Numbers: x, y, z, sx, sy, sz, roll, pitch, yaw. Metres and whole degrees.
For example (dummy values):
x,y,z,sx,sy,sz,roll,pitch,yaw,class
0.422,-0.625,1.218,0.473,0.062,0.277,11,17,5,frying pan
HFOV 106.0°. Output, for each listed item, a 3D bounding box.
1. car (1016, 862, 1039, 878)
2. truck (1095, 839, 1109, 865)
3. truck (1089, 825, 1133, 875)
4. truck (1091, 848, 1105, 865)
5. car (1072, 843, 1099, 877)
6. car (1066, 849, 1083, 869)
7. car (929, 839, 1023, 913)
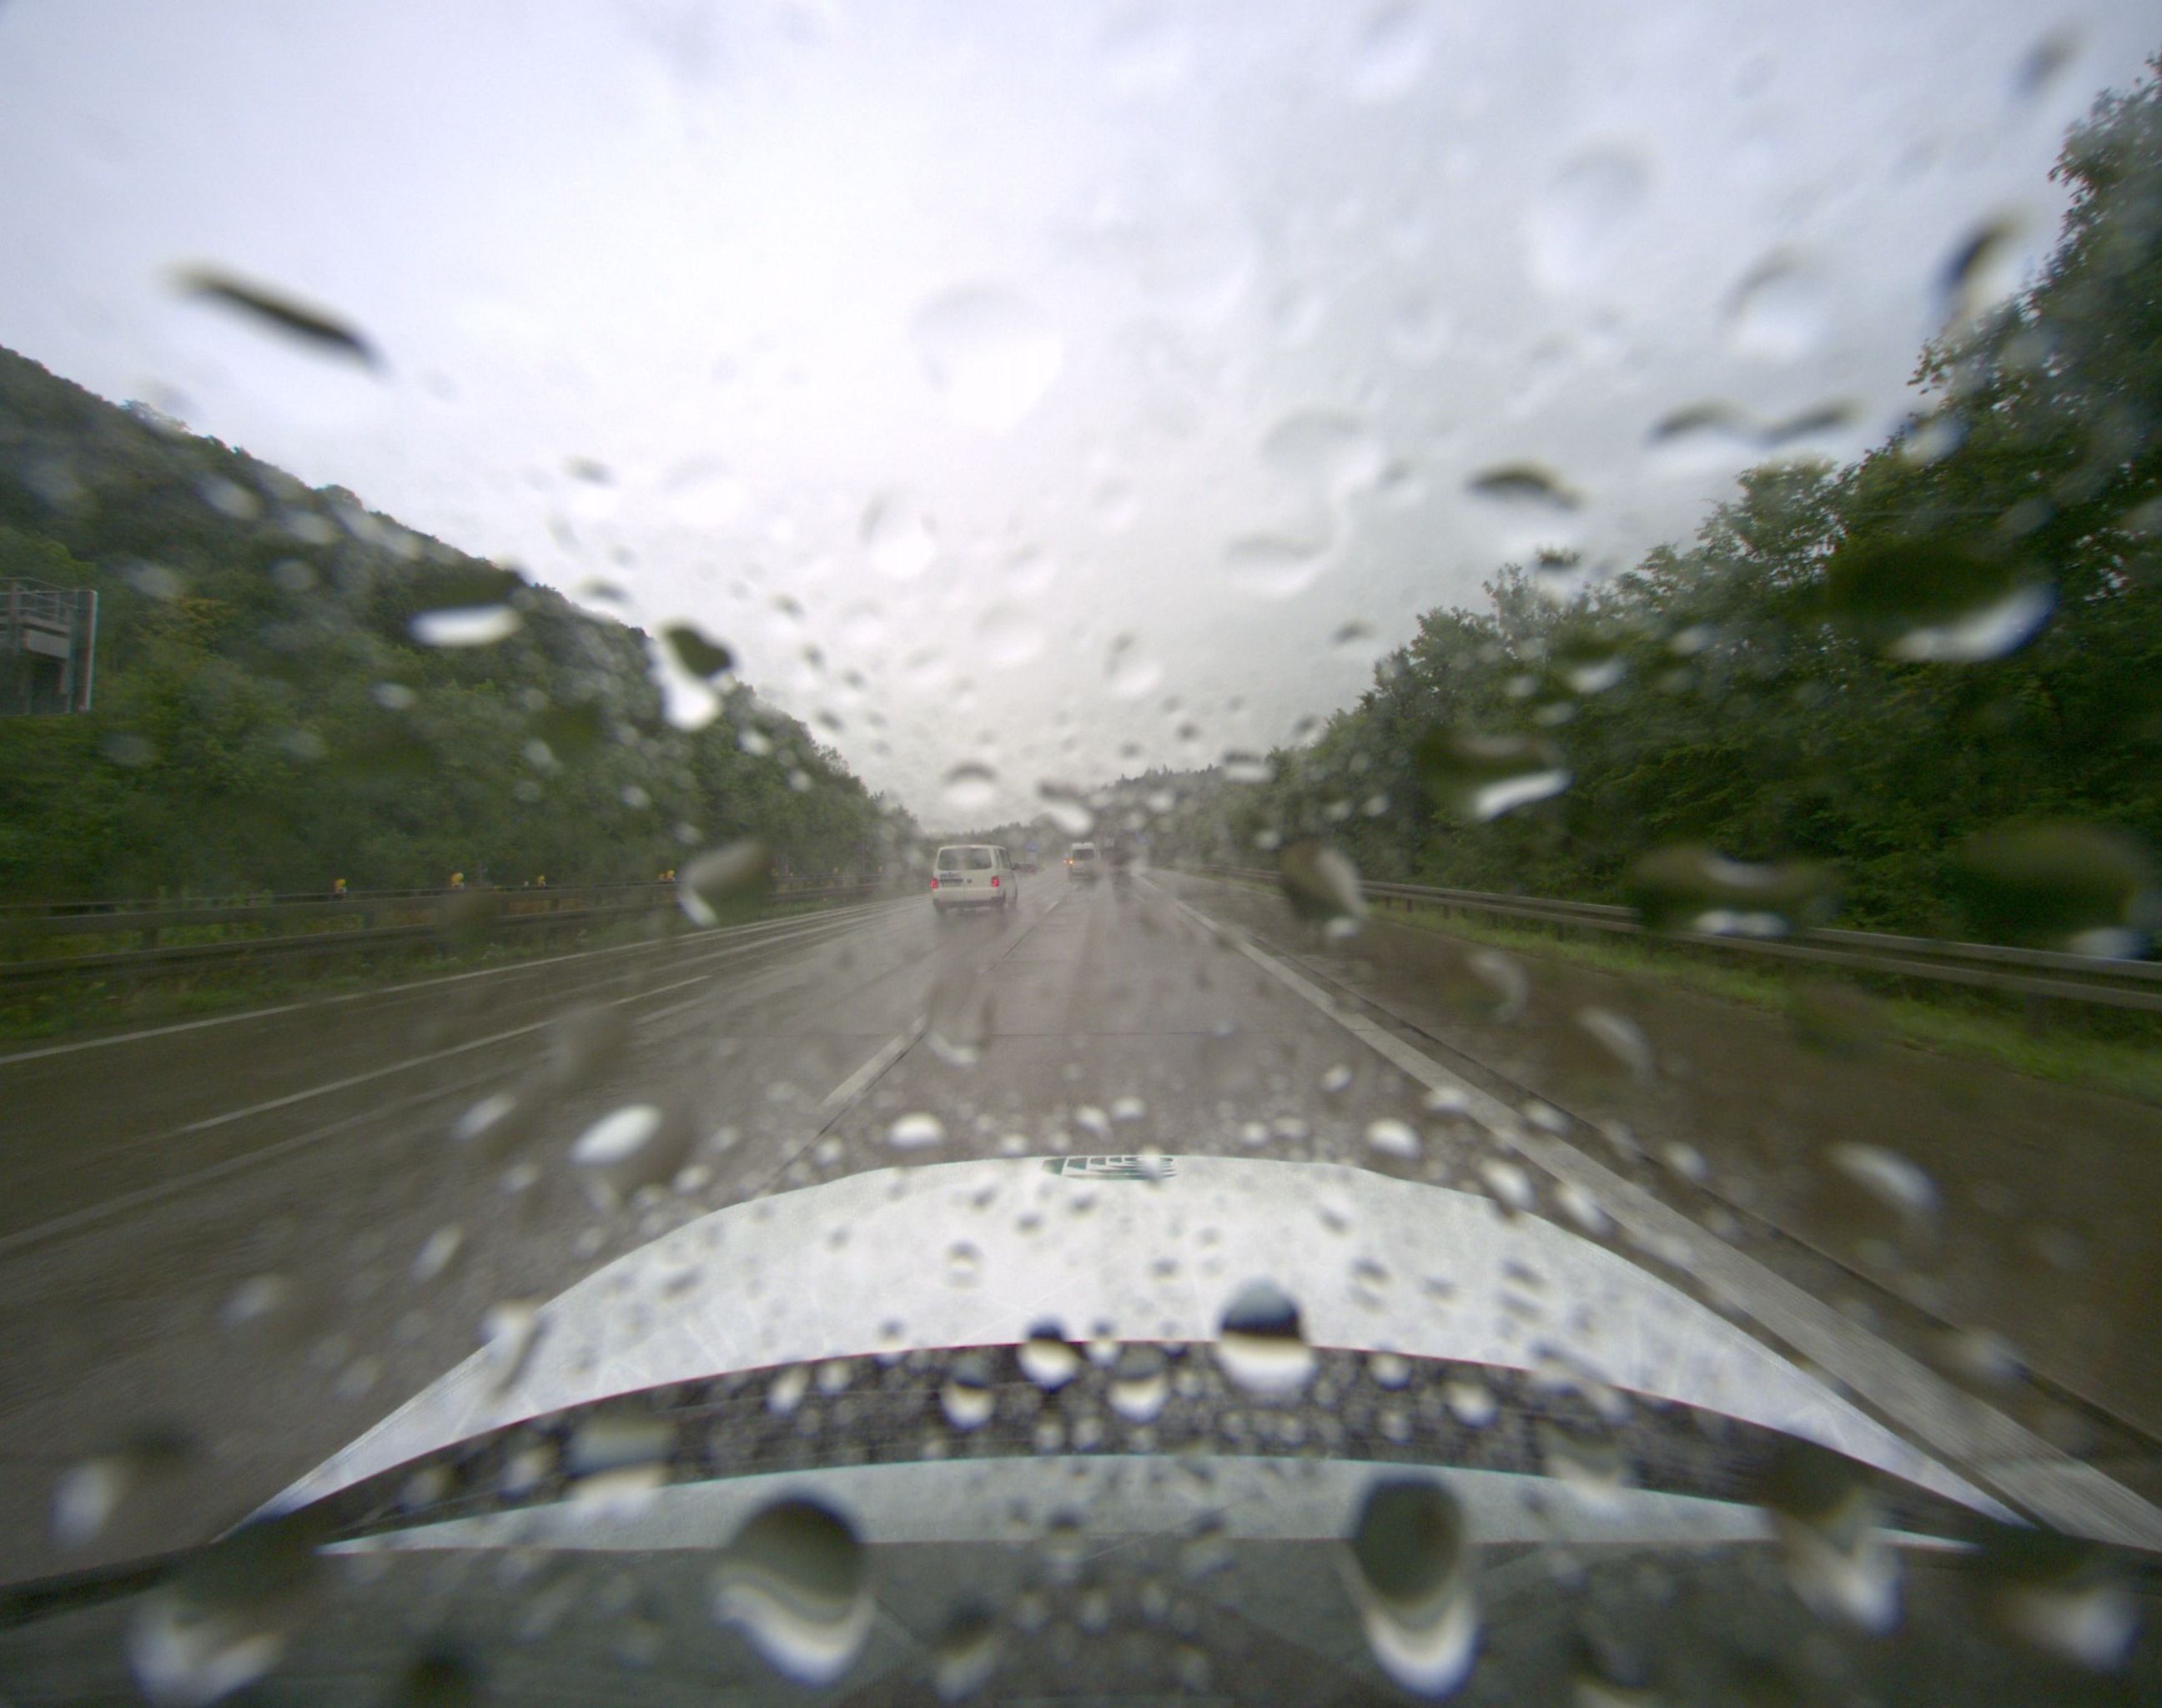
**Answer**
x,y,z,sx,sy,sz,roll,pitch,yaw,class
-4.795,1.402,73.226,1.735,1.388,4.320,-1,-1,0,car
3.310,-0.232,126.433,1.986,3.806,6.735,-3,0,1,truck
2.633,-0.475,73.247,3.373,3.967,8.669,-4,1,1,truck
3.370,0.528,164.024,1.991,3.169,6.720,-2,0,-5,truck
0.327,0.440,59.692,1.893,2.334,5.250,1,0,0,car
-0.820,0.689,104.191,1.991,2.432,5.790,1,0,0,car
-2.916,0.593,23.753,1.892,1.894,5.044,-1,0,2,car
